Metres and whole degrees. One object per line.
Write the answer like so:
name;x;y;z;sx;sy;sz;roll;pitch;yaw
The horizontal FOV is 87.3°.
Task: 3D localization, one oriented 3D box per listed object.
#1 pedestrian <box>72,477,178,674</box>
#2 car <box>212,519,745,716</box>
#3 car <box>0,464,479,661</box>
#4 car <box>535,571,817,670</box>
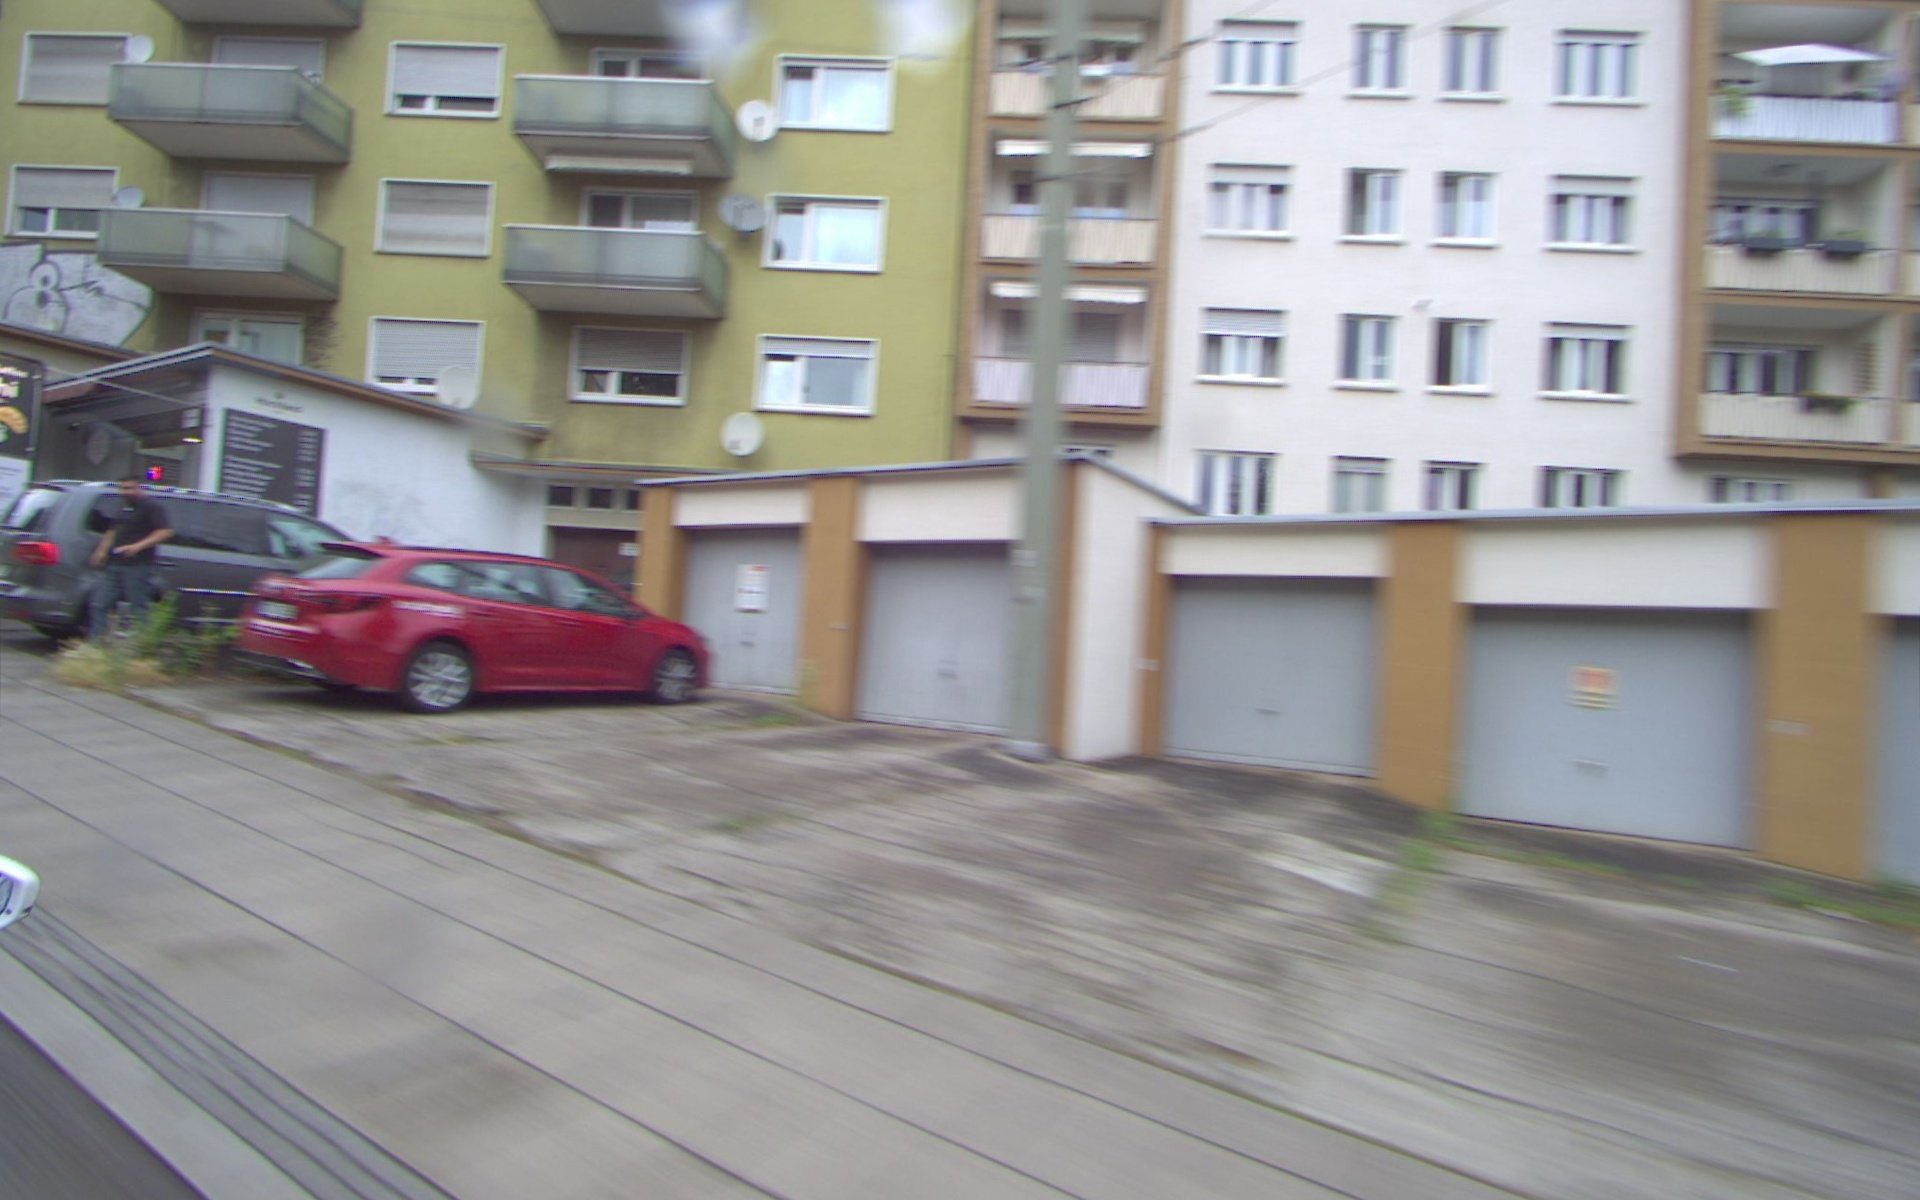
pedestrian;-7.741;-0.223;9.321;0.712;1.736;0.604;6;2;44
car;-4.427;0.236;10.098;1.736;1.455;4.574;5;-1;30
car;-7.979;-0.293;11.225;1.752;1.695;4.331;7;0;33
car;-4.569;0.419;16.900;1.752;1.418;4.516;1;-3;32
